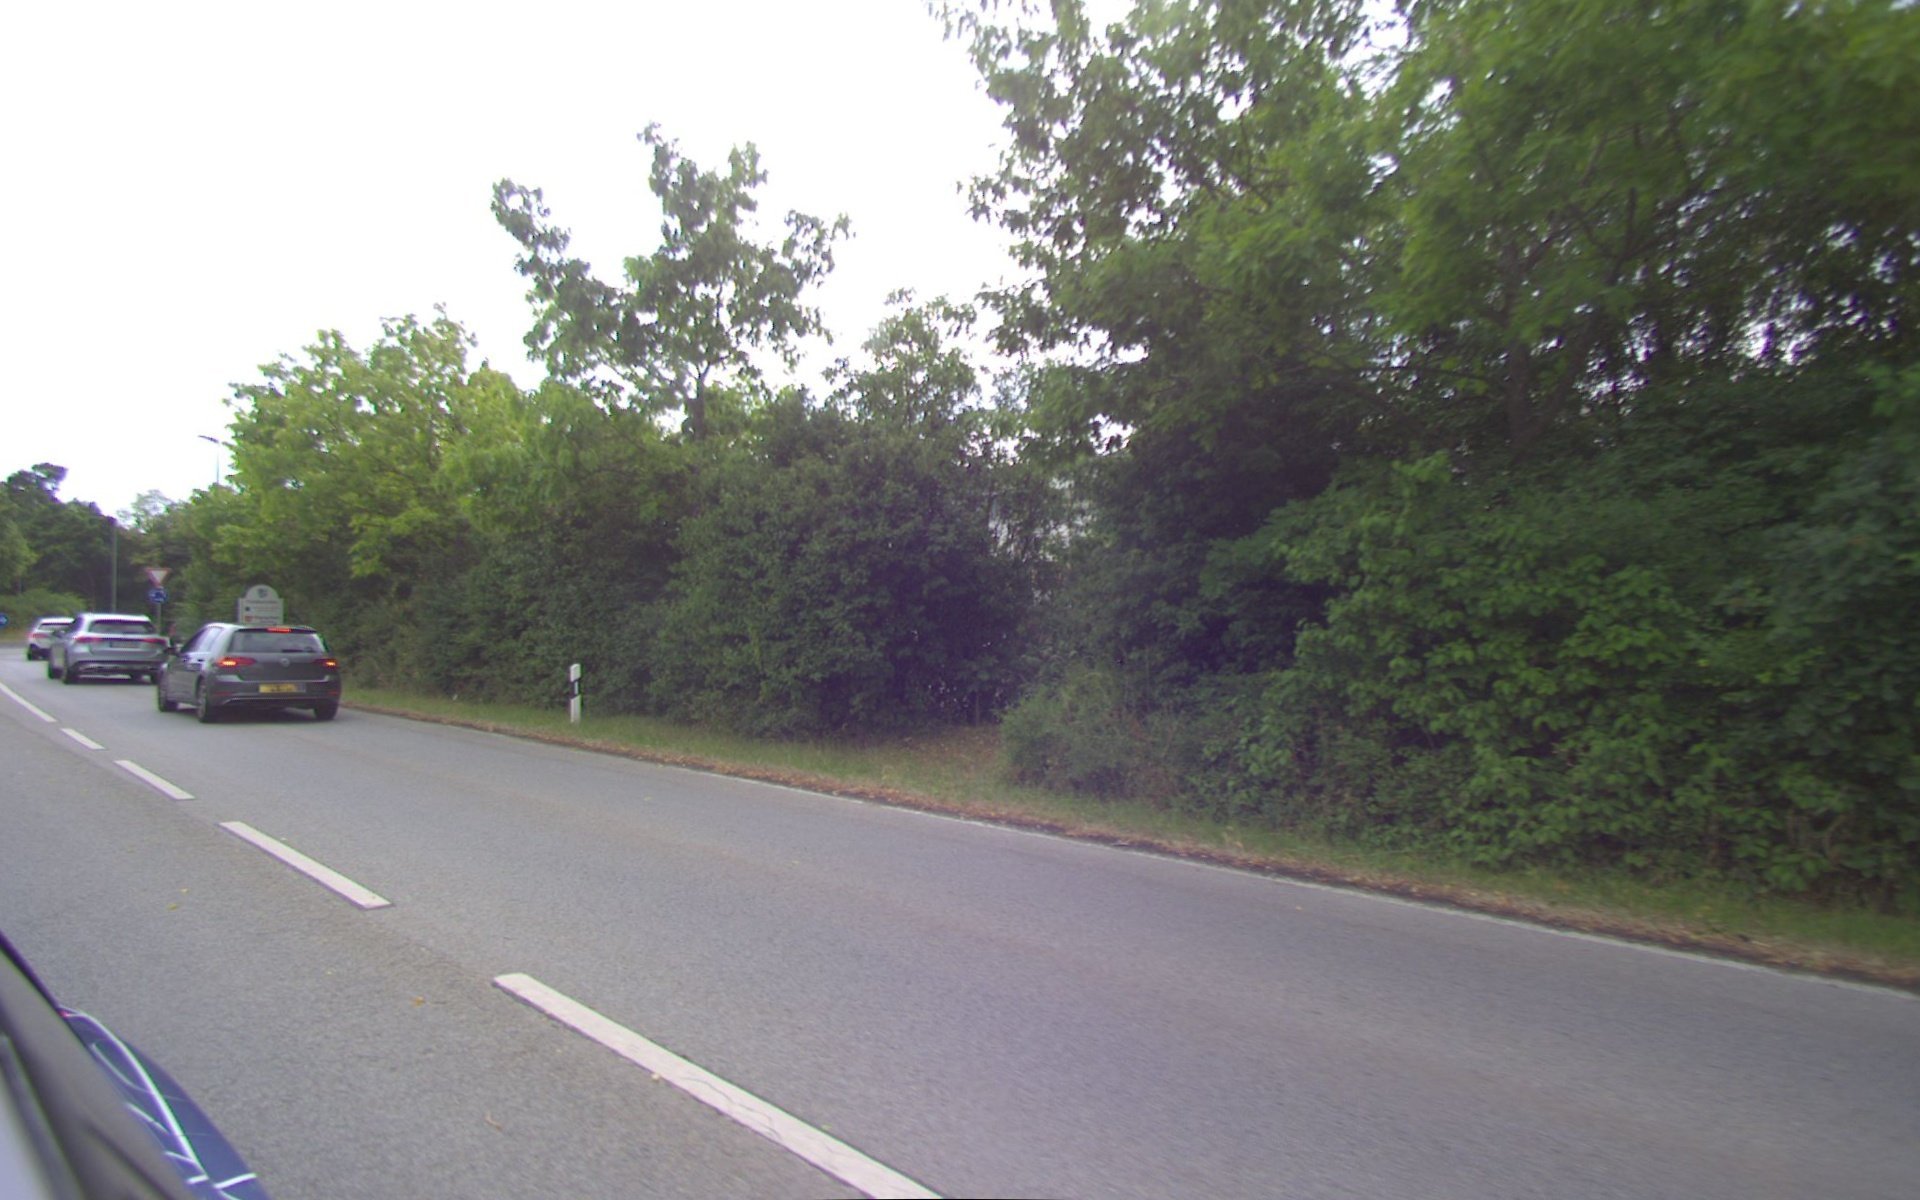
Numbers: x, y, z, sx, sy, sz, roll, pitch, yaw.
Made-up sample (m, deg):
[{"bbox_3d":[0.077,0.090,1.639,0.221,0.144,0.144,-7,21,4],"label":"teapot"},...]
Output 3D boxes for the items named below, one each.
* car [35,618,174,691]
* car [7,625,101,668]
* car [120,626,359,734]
[{"bbox_3d":[-20.844,1.273,24.591,4.665,1.614,1.972,-1,-4,43],"label":"car"},{"bbox_3d":[-33.336,1.714,37.193,4.944,1.465,2.188,-2,-5,44],"label":"car"},{"bbox_3d":[-11.484,1.177,16.027,4.474,1.430,1.973,-1,-3,40],"label":"car"}]
